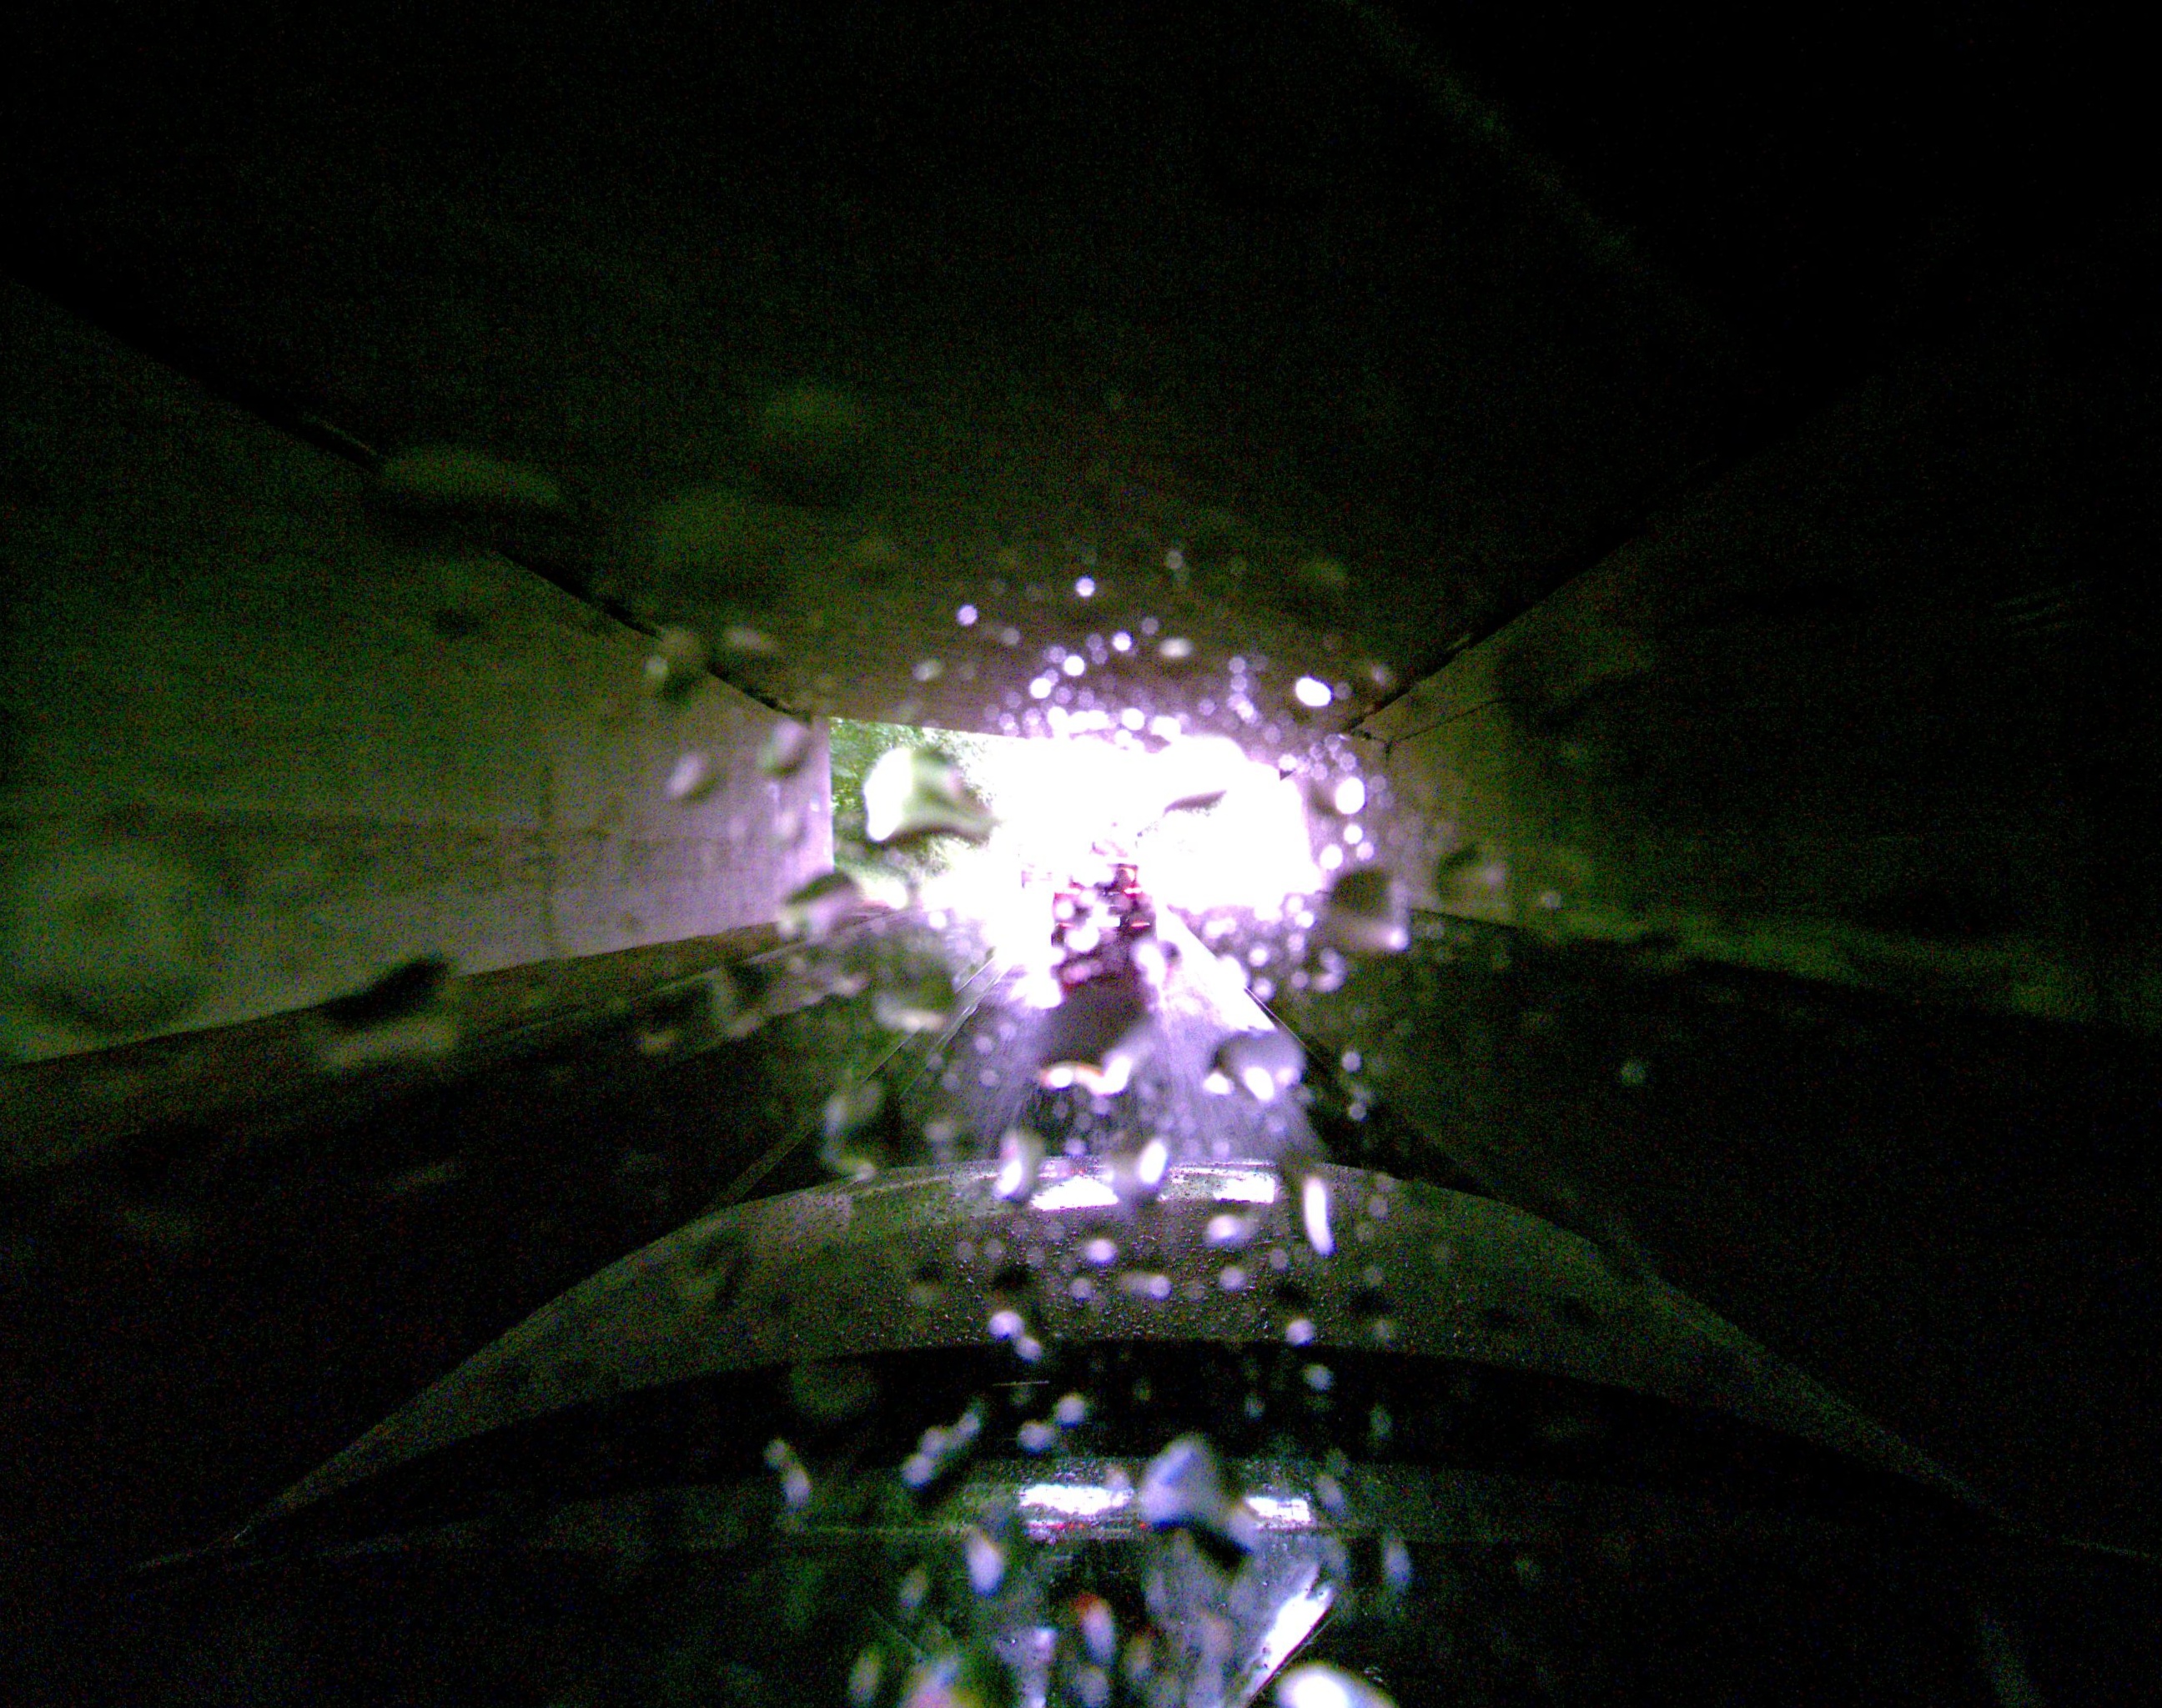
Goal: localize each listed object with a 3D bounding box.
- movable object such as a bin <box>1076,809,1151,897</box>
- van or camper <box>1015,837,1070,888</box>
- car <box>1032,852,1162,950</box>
[{"bbox_3d":[1.033,-0.032,27.955,2.238,2.669,6.627,0,0,1],"label":"movable object such as a bin"},{"bbox_3d":[-1.619,0.332,36.028,1.985,2.098,4.694,0,0,3],"label":"van or camper"},{"bbox_3d":[0.203,0.718,14.423,1.988,1.487,3.997,0,0,-2],"label":"car"}]
